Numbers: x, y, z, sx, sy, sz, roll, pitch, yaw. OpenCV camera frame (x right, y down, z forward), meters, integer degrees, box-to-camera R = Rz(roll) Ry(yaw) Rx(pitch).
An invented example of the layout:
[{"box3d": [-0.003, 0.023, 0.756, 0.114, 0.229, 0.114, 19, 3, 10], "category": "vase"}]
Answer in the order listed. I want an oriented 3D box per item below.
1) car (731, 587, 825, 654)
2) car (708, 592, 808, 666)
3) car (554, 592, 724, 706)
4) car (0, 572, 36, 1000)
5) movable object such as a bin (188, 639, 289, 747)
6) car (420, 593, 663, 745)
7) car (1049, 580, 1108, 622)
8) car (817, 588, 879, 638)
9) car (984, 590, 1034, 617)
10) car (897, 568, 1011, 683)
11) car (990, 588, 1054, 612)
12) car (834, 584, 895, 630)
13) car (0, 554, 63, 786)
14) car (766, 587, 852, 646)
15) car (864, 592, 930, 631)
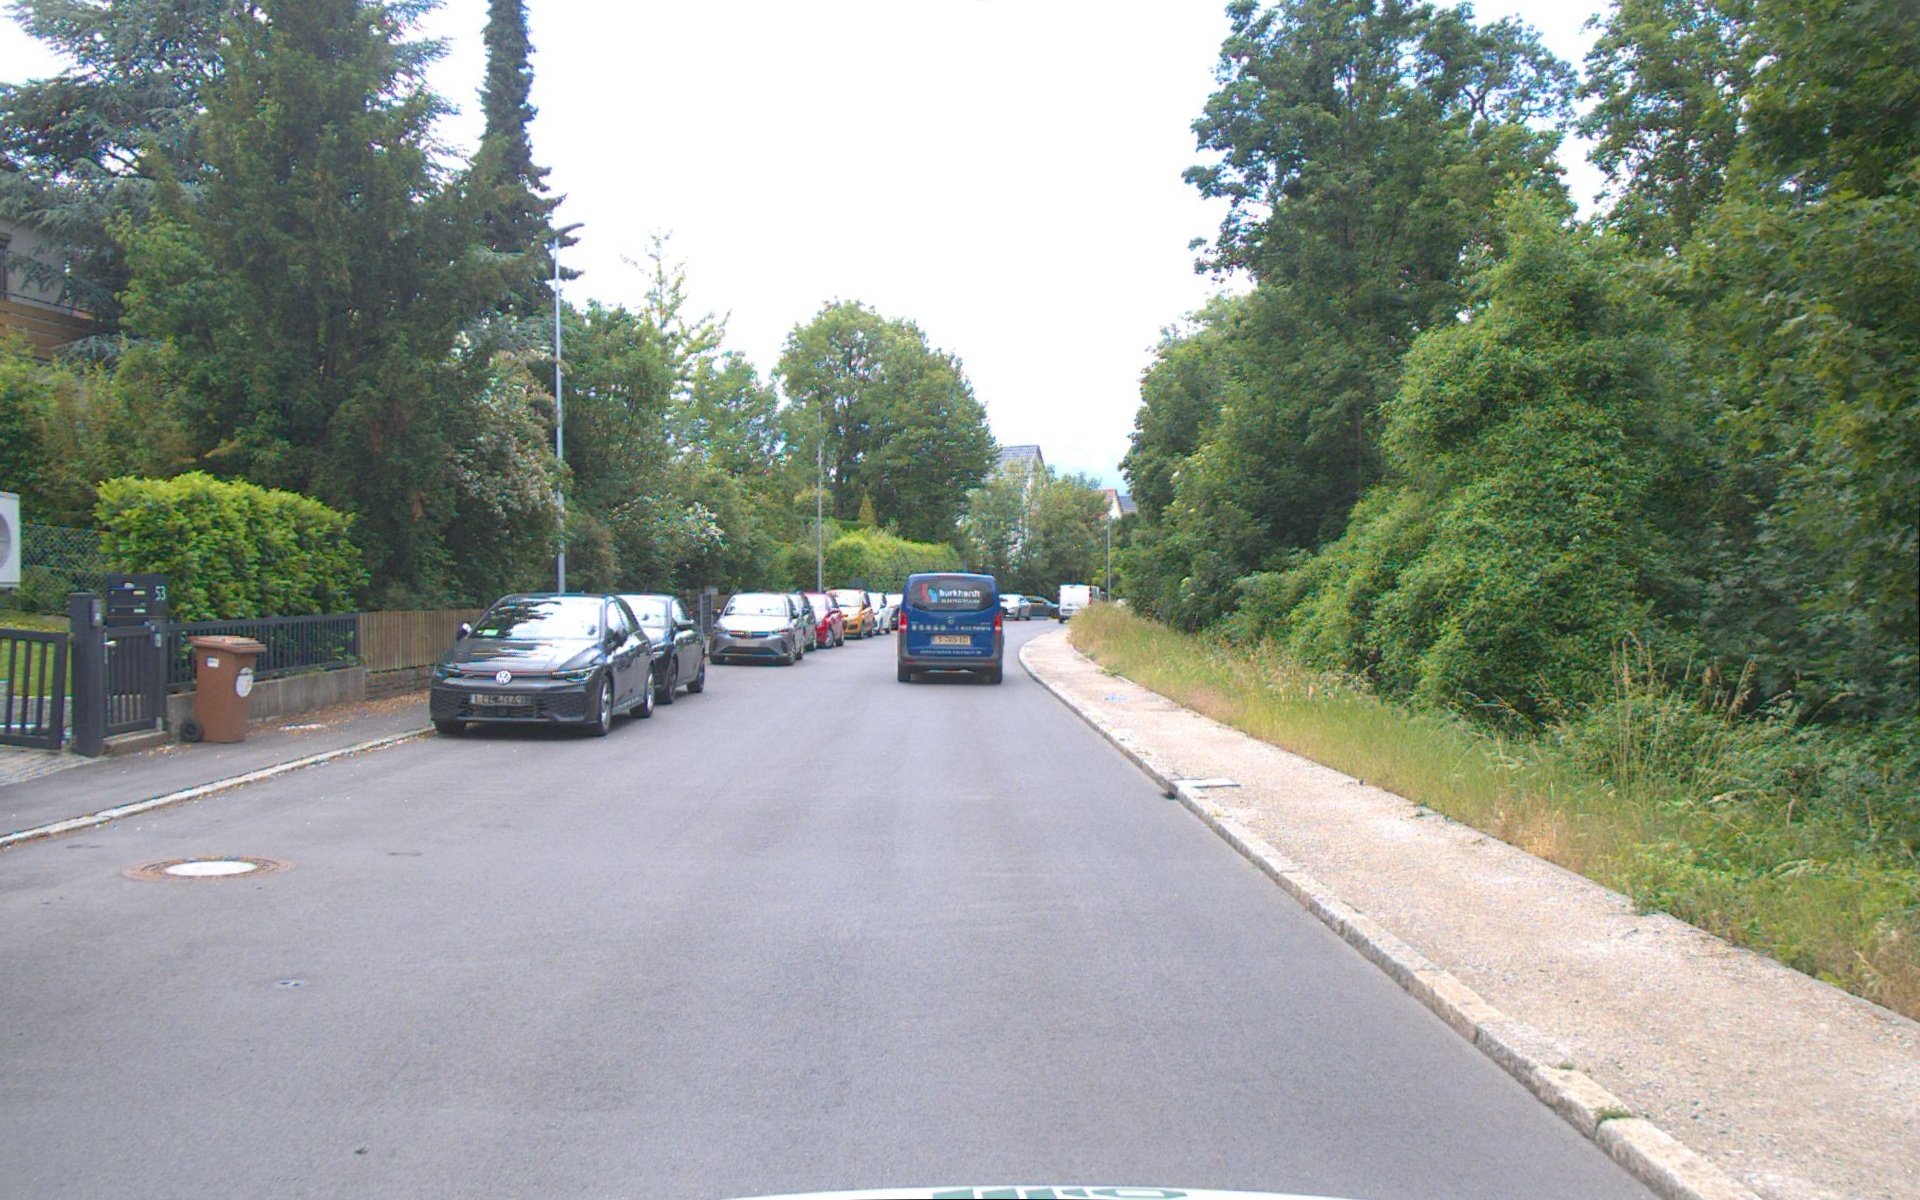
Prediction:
[{"box3d": [-4.443, 0.459, 40.937, 1.671, 1.541, 4.496, 1, 0, 2], "category": "car"}, {"box3d": [-4.214, 0.569, 34.968, 1.672, 1.434, 4.160, 1, 0, -1], "category": "car"}, {"box3d": [-4.441, 0.629, 23.446, 1.672, 1.441, 4.131, 1, 0, -1], "category": "car"}, {"box3d": [-4.244, 0.672, 4.154, 1.672, 1.538, 3.945, 1, 0, -1], "category": "car"}, {"box3d": [-6.499, 0.829, 14.920, 0.616, 0.938, 0.654, 0, 0, 0], "category": "movable object such as a bin"}, {"box3d": [-4.440, 0.665, 18.143, 1.672, 1.441, 4.148, 1, 0, -1], "category": "car"}, {"box3d": [6.293, 0.051, 87.295, 2.159, 2.100, 6.139, 0, 0, 13], "category": "car"}, {"box3d": [-3.564, 0.384, 53.285, 1.511, 1.541, 3.646, 1, 0, 4], "category": "car"}, {"box3d": [2.736, 0.160, 90.932, 1.792, 1.398, 4.449, 1, 0, 14], "category": "car"}, {"box3d": [-0.179, 0.409, 30.153, 1.897, 1.913, 4.528, 1, 0, -2], "category": "car"}, {"box3d": [4.069, 0.000, 108.620, 4.083, 1.472, 1.739, 1, 0, -2], "category": "car"}, {"box3d": [-3.314, 0.228, 57.989, 1.554, 1.541, 3.593, 1, 0, 6], "category": "car"}, {"box3d": [-8.481, 0.415, 11.263, 3.902, 1.574, 1.843, 2, 0, 13], "category": "car"}, {"box3d": [-4.118, 0.427, 45.750, 1.671, 1.541, 4.366, 1, 0, 4], "category": "car"}, {"box3d": [-2.373, 0.424, 63.376, 1.681, 1.409, 4.667, 1, 0, 9], "category": "car"}]
